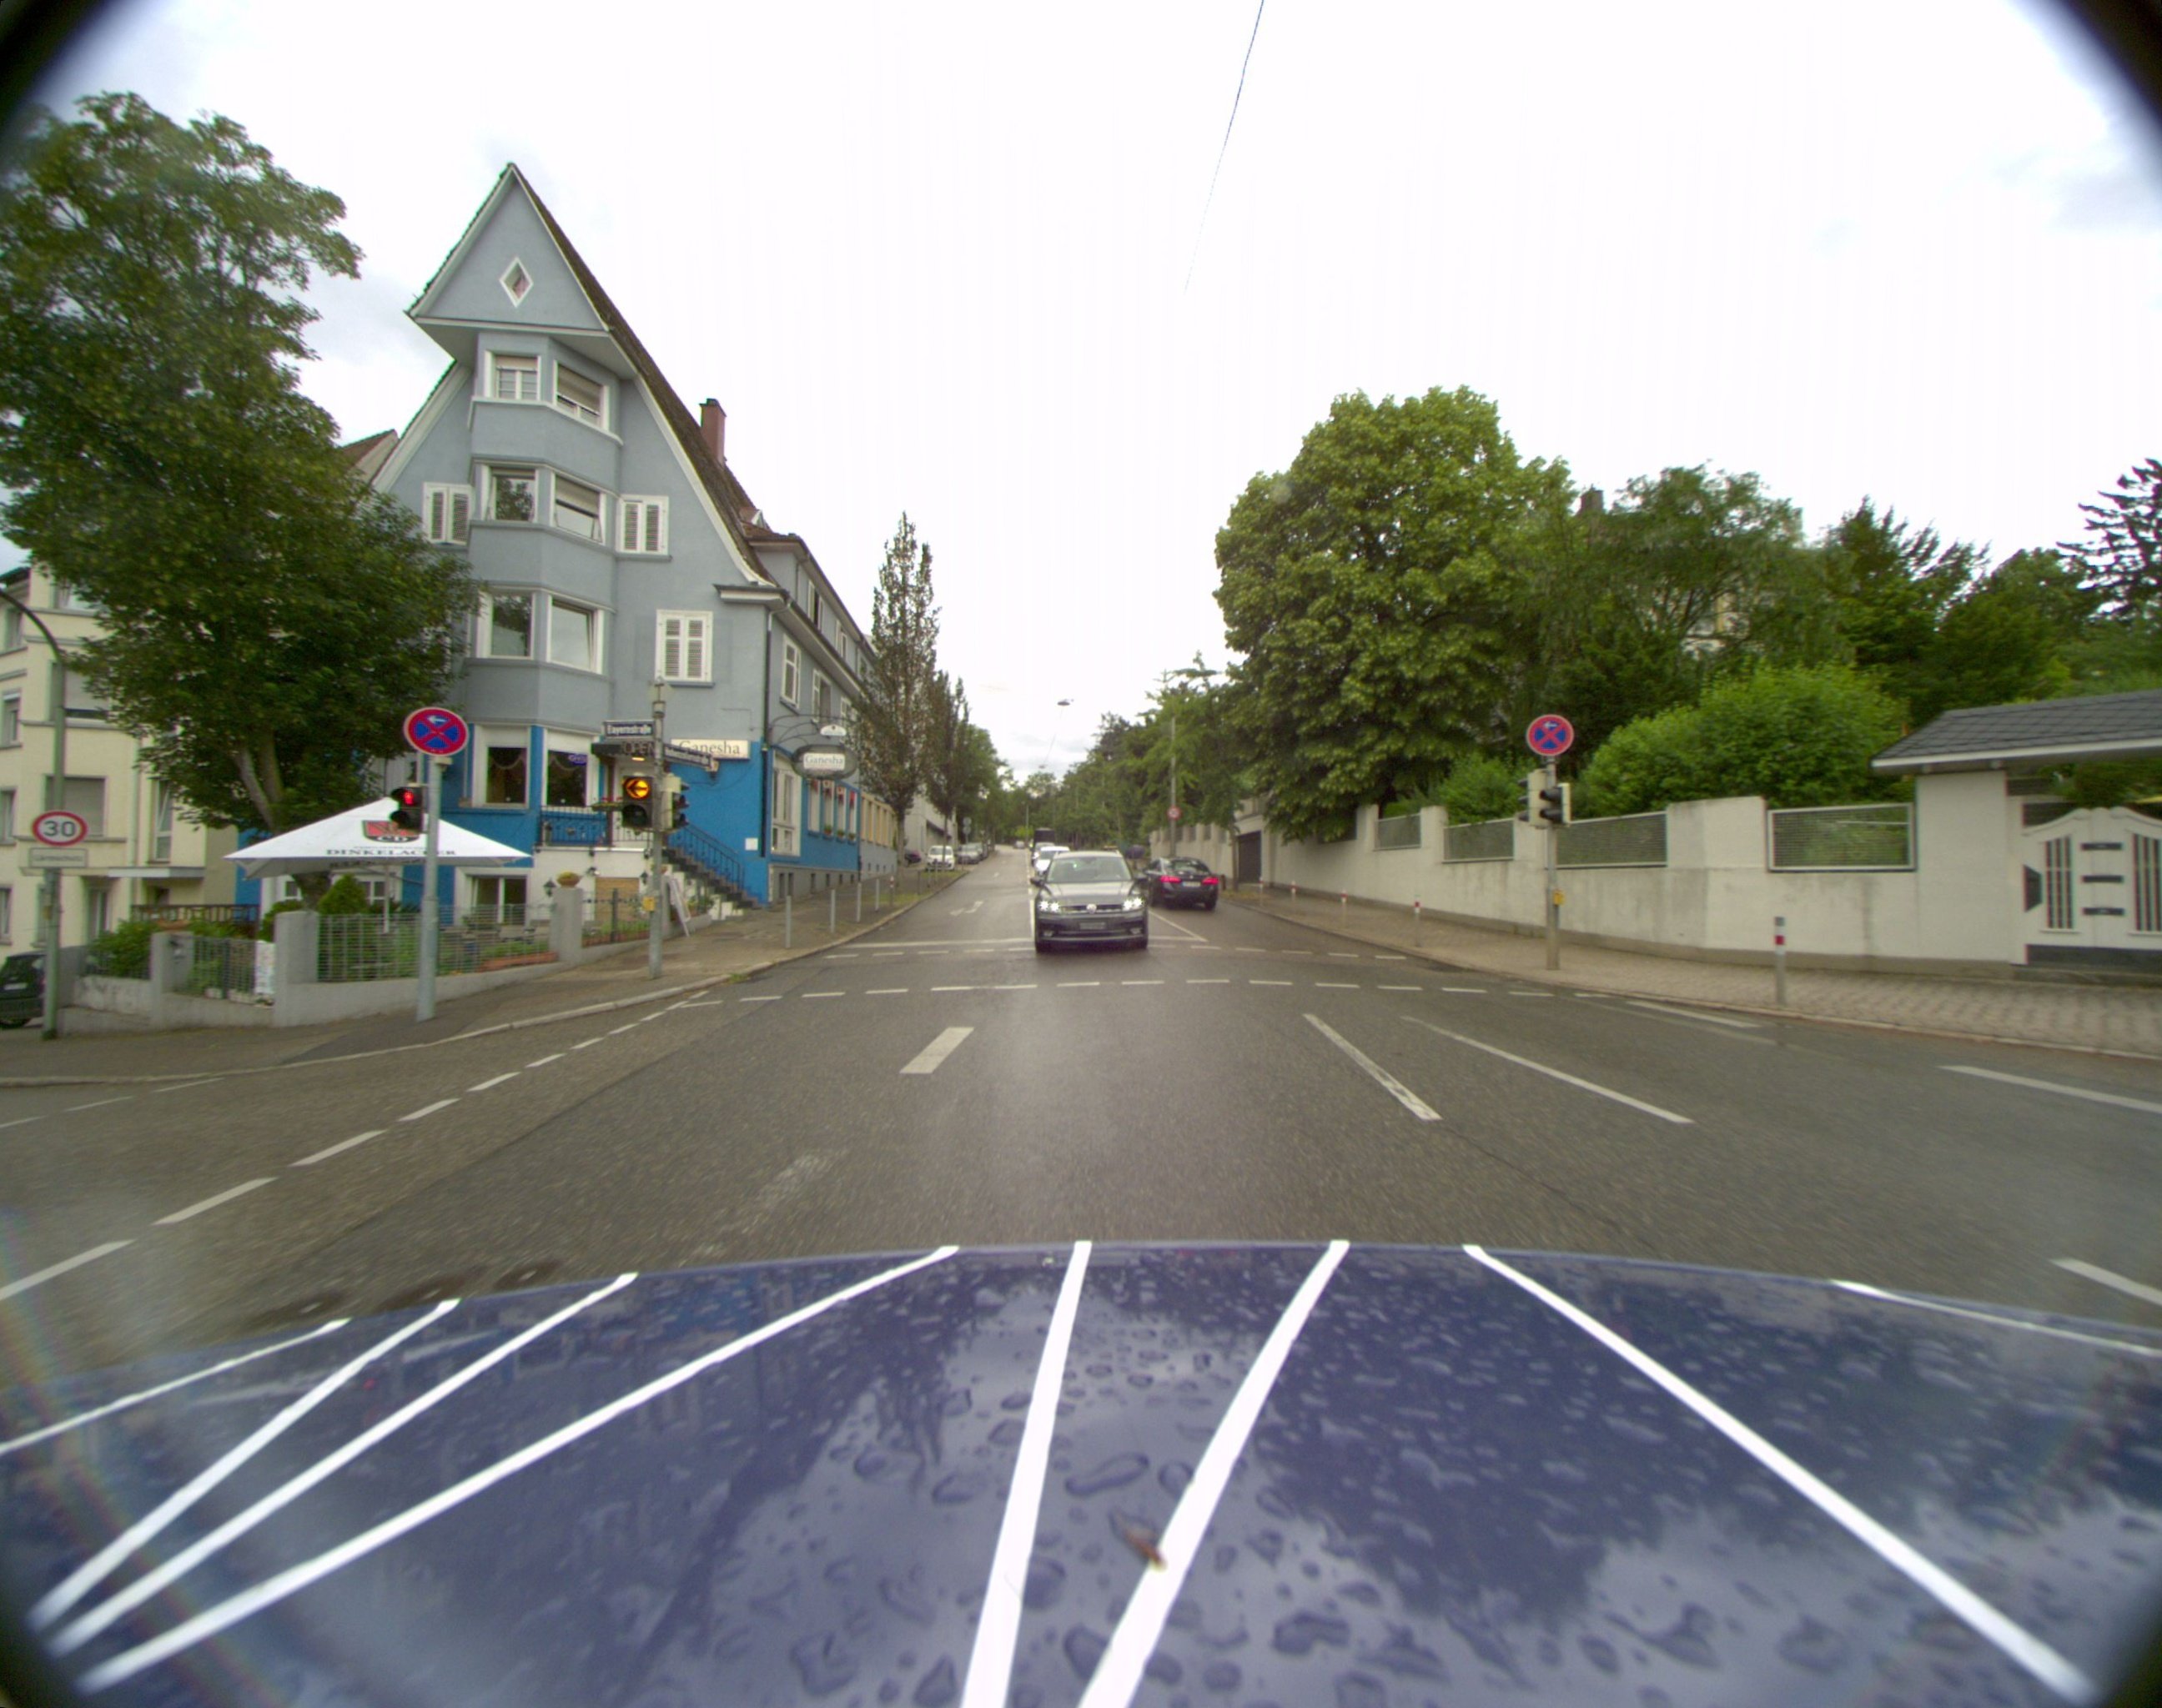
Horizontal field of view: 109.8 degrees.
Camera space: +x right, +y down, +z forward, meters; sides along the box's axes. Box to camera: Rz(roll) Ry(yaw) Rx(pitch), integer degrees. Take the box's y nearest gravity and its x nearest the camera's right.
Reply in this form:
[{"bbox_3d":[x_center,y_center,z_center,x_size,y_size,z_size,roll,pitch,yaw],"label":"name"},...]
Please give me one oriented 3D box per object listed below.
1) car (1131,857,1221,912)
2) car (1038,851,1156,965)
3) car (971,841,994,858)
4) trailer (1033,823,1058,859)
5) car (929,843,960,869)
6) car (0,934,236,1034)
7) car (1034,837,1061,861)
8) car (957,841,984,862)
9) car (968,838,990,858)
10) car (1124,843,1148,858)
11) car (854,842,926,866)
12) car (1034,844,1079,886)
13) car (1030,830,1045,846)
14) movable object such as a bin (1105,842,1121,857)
[{"bbox_3d":[2.820,0.849,23.806,1.858,1.477,5.365,1,0,-3],"label":"car"},{"bbox_3d":[0.130,0.813,13.678,1.786,1.632,4.197,1,2,-3],"label":"car"},{"bbox_3d":[-9.263,-0.454,71.842,1.711,1.436,4.095,1,2,-1],"label":"car"},{"bbox_3d":[-2.686,-1.033,57.316,1.771,2.611,3.030,-1,3,-4],"label":"trailer"},{"bbox_3d":[-7.964,0.105,44.532,1.591,1.404,3.453,1,1,-8],"label":"car"},{"bbox_3d":[-20.773,2.708,16.260,1.638,1.489,3.143,-5,1,5],"label":"car"},{"bbox_3d":[-2.429,-0.401,54.130,1.737,1.610,3.472,0,3,-5],"label":"car"},{"bbox_3d":[-8.496,-0.215,58.707,1.820,1.451,4.737,0,2,-6],"label":"car"},{"bbox_3d":[-8.950,-0.541,66.898,1.750,1.665,4.341,0,2,-5],"label":"car"},{"bbox_3d":[5.762,-0.418,79.878,1.857,1.483,3.862,-1,1,-6],"label":"car"},{"bbox_3d":[-12.403,-0.015,49.369,4.372,1.399,1.805,-2,3,-20],"label":"car"},{"bbox_3d":[-1.127,0.431,33.238,1.786,1.632,4.197,1,2,-4],"label":"car"},{"bbox_3d":[-6.001,-2.221,104.929,1.999,2.003,3.996,1,3,-5],"label":"car"},{"bbox_3d":[2.989,-0.422,70.890,1.227,1.343,1.121,0,2,-12],"label":"movable object such as a bin"}]
